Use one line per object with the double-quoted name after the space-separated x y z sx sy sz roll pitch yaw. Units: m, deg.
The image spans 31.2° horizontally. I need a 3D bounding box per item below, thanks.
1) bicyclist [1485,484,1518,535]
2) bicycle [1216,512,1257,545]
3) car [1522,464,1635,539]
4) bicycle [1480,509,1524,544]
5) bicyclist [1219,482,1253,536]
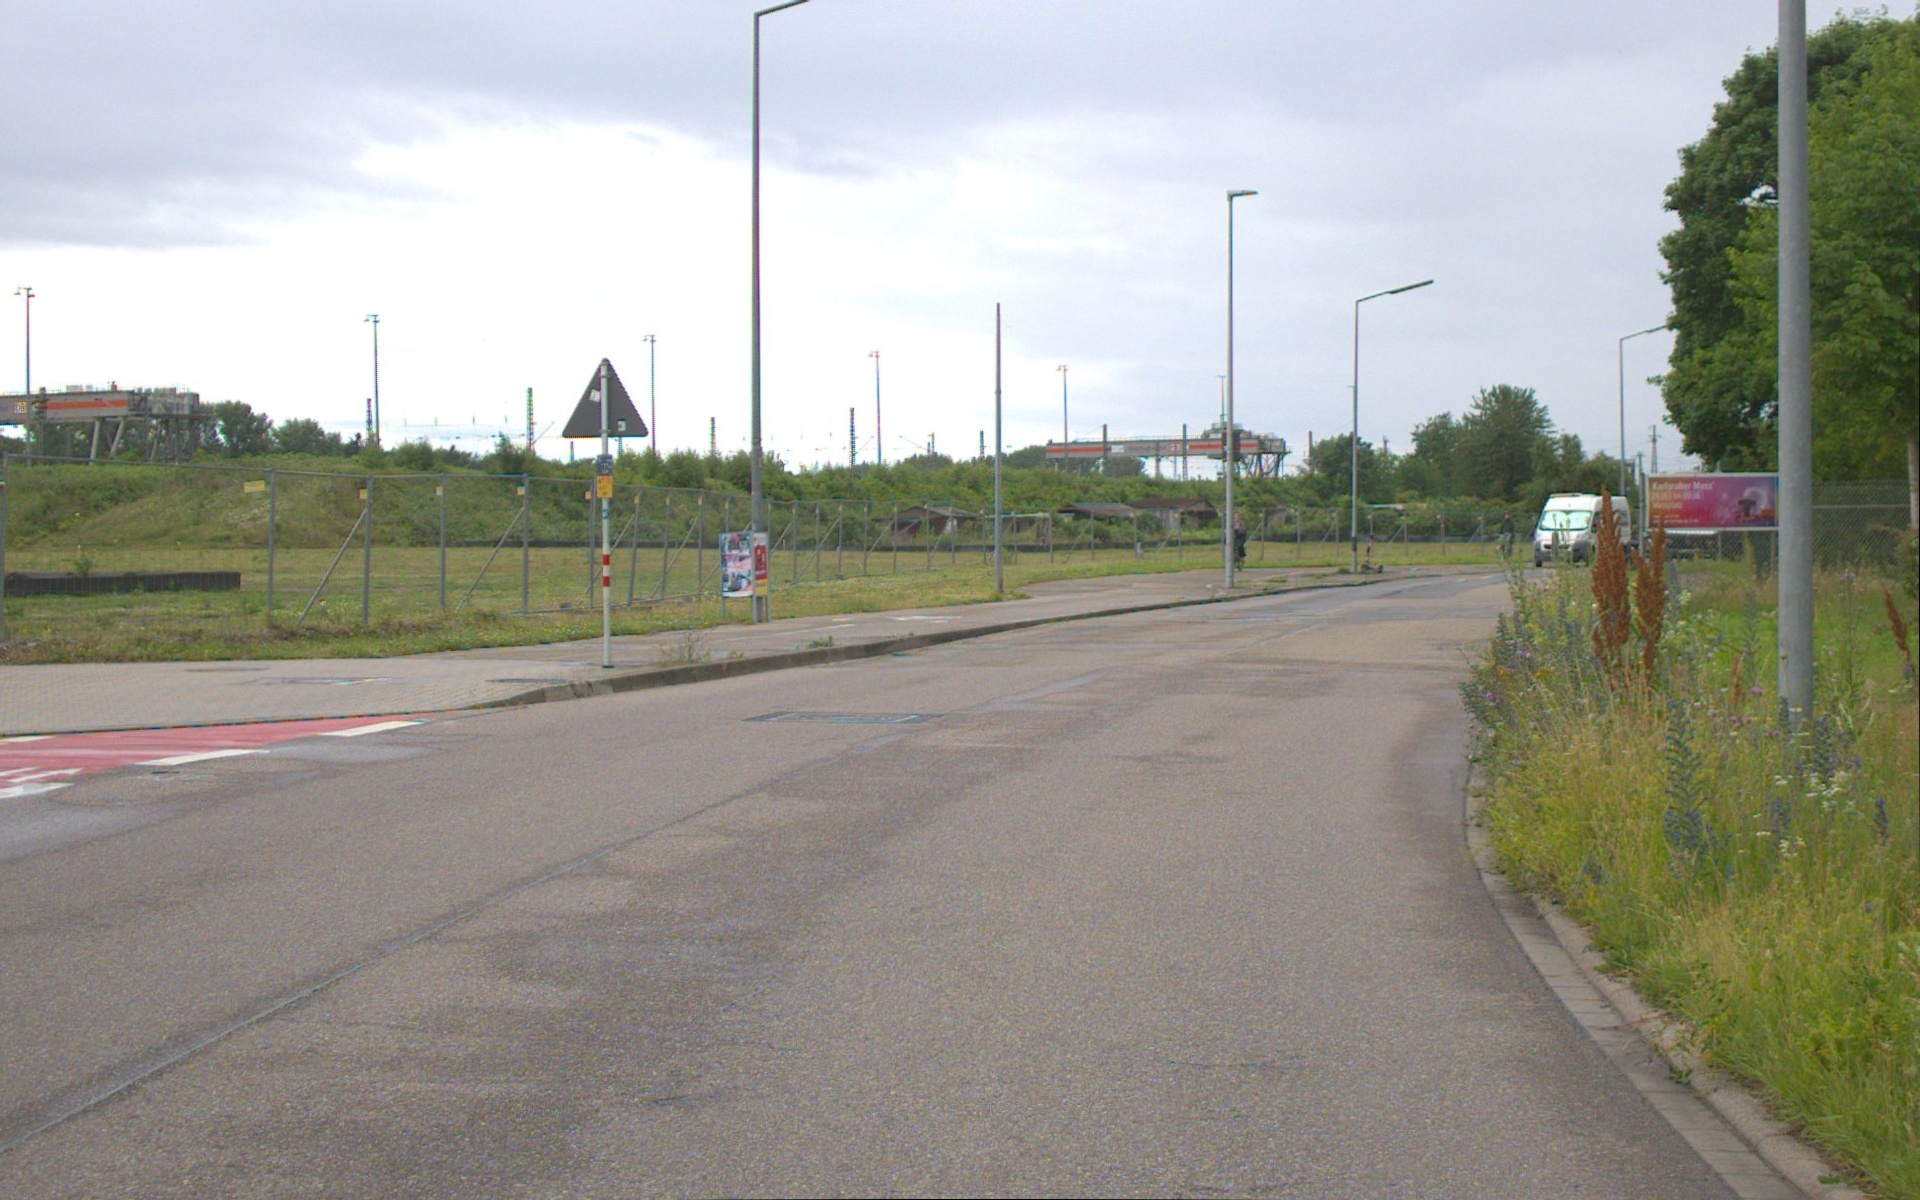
19.277 -3.226 122.400 0.828 1.815 1.329 1 2 25 "bicyclist"
7.893 -2.041 98.237 0.804 0.904 2.231 0 2 14 "bicycle"
21.772 -3.478 120.825 2.292 2.546 6.402 0 2 25 "car"
19.295 -2.609 122.428 0.820 1.200 2.553 1 2 26 "bicycle"
7.884 -2.613 98.149 0.782 1.521 1.093 0 2 15 "bicyclist"
